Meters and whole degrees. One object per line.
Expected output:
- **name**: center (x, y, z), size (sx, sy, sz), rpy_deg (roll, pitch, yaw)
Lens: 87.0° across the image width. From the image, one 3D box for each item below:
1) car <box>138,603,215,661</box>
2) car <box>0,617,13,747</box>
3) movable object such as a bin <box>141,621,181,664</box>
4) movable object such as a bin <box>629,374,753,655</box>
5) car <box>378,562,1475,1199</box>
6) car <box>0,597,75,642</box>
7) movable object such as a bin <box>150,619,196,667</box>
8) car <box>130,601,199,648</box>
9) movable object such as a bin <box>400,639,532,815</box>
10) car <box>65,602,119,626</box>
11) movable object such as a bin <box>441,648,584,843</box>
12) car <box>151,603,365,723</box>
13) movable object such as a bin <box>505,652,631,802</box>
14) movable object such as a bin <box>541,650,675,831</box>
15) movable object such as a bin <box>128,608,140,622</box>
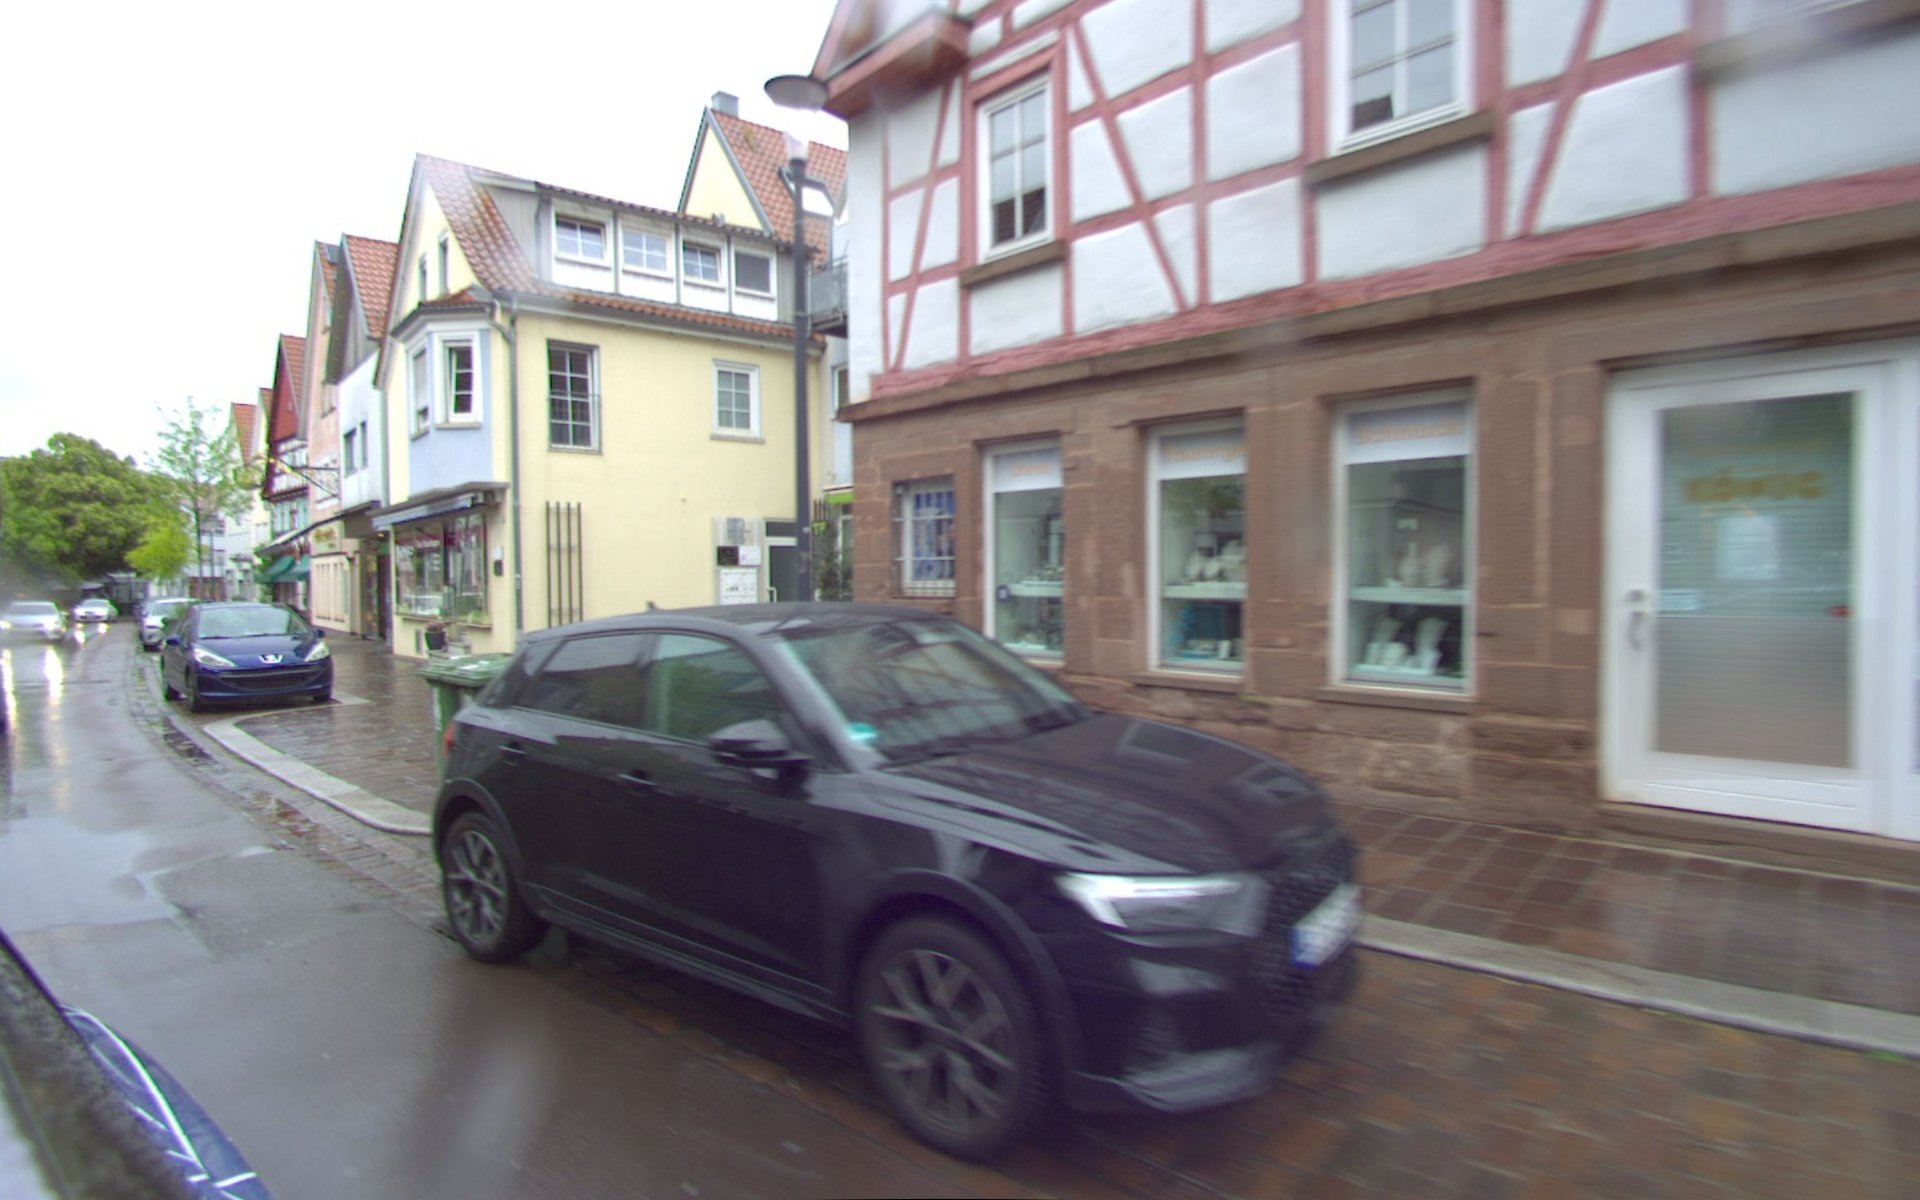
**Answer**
- **car**: center (-24.559, 0.942, 31.747), size (1.803, 1.578, 4.008), rpy_deg (-1, 1, -38)
- **car**: center (-12.867, 0.941, 12.252), size (1.970, 1.417, 4.897), rpy_deg (-1, 0, -44)
- **movable object such as a bin**: center (-21.665, 1.149, 27.444), size (0.805, 1.114, 0.610), rpy_deg (-1, 1, -44)
- **movable object such as a bin**: center (-2.075, -0.623, 7.798), size (0.747, 2.029, 0.623), rpy_deg (1, 1, 43)
- **car**: center (-0.352, 0.684, 4.024), size (3.993, 1.505, 1.975), rpy_deg (-1, 1, 37)
- **car**: center (-32.967, 0.644, 35.979), size (1.968, 1.464, 4.009), rpy_deg (-1, 1, -38)
- **movable object such as a bin**: center (-20.024, 1.091, 25.757), size (0.805, 1.114, 0.610), rpy_deg (-5, 4, -44)
- **car**: center (-31.576, 0.911, 40.136), size (1.811, 1.563, 4.288), rpy_deg (-5, 4, -41)
- **movable object such as a bin**: center (-3.537, 0.869, 7.246), size (0.734, 1.122, 0.623), rpy_deg (1, 1, 42)
- **car**: center (-56.918, 0.902, 66.442), size (1.966, 1.464, 4.013), rpy_deg (0, 1, -30)
- **movable object such as a bin**: center (-2.952, 0.916, 6.671), size (0.734, 1.131, 0.623), rpy_deg (1, 1, 42)
- **car**: center (-10.622, 0.825, 15.192), size (1.971, 1.483, 4.003), rpy_deg (-2, 1, -44)
- **movable object such as a bin**: center (-3.032, 0.954, 7.831), size (0.733, 1.060, 0.623), rpy_deg (-4, -2, 42)
- **movable object such as a bin**: center (-2.489, 0.951, 7.156), size (0.734, 1.131, 0.623), rpy_deg (1, 1, 42)
- **movable object such as a bin**: center (-67.206, 1.201, 82.379), size (0.537, 1.158, 0.587), rpy_deg (0, 1, -13)
